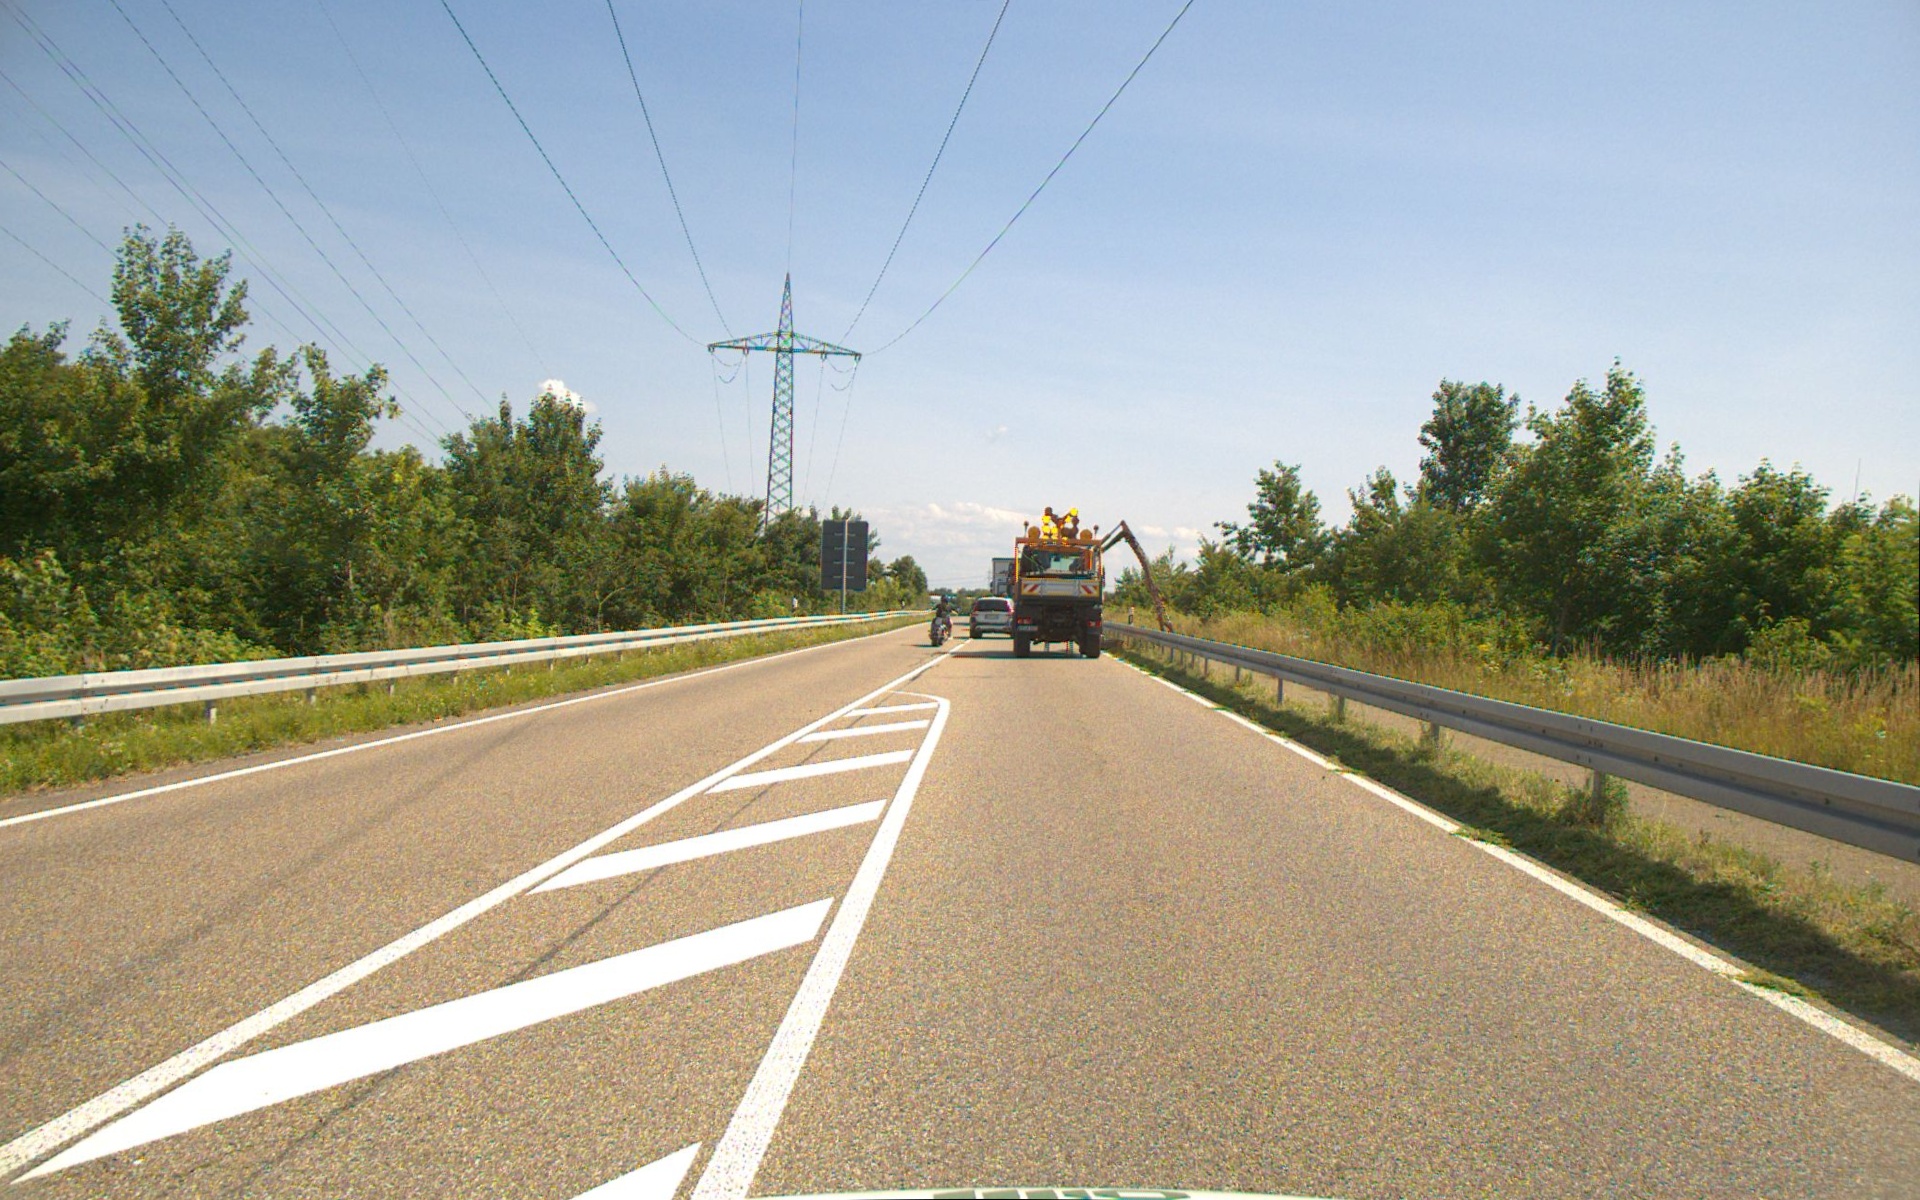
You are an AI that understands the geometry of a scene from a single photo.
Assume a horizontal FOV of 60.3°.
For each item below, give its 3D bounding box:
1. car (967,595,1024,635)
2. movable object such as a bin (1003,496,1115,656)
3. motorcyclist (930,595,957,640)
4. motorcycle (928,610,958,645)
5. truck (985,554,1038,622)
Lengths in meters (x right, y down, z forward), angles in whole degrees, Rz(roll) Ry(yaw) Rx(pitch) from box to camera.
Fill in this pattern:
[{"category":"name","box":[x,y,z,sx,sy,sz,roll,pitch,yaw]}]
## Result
[{"category":"car","box":[1.407,0.554,63.918,1.787,1.477,4.003,1,0,7]},{"category":"movable object such as a bin","box":[2.638,-0.616,45.452,2.696,3.906,9.448,1,0,2]},{"category":"motorcyclist","box":[-0.492,0.530,50.346,0.764,1.349,0.813,1,0,2]},{"category":"motorcycle","box":[-0.508,0.826,50.326,0.764,0.993,2.362,1,0,2]},{"category":"truck","box":[3.276,-0.702,104.873,3.174,4.048,9.446,1,0,2]}]
